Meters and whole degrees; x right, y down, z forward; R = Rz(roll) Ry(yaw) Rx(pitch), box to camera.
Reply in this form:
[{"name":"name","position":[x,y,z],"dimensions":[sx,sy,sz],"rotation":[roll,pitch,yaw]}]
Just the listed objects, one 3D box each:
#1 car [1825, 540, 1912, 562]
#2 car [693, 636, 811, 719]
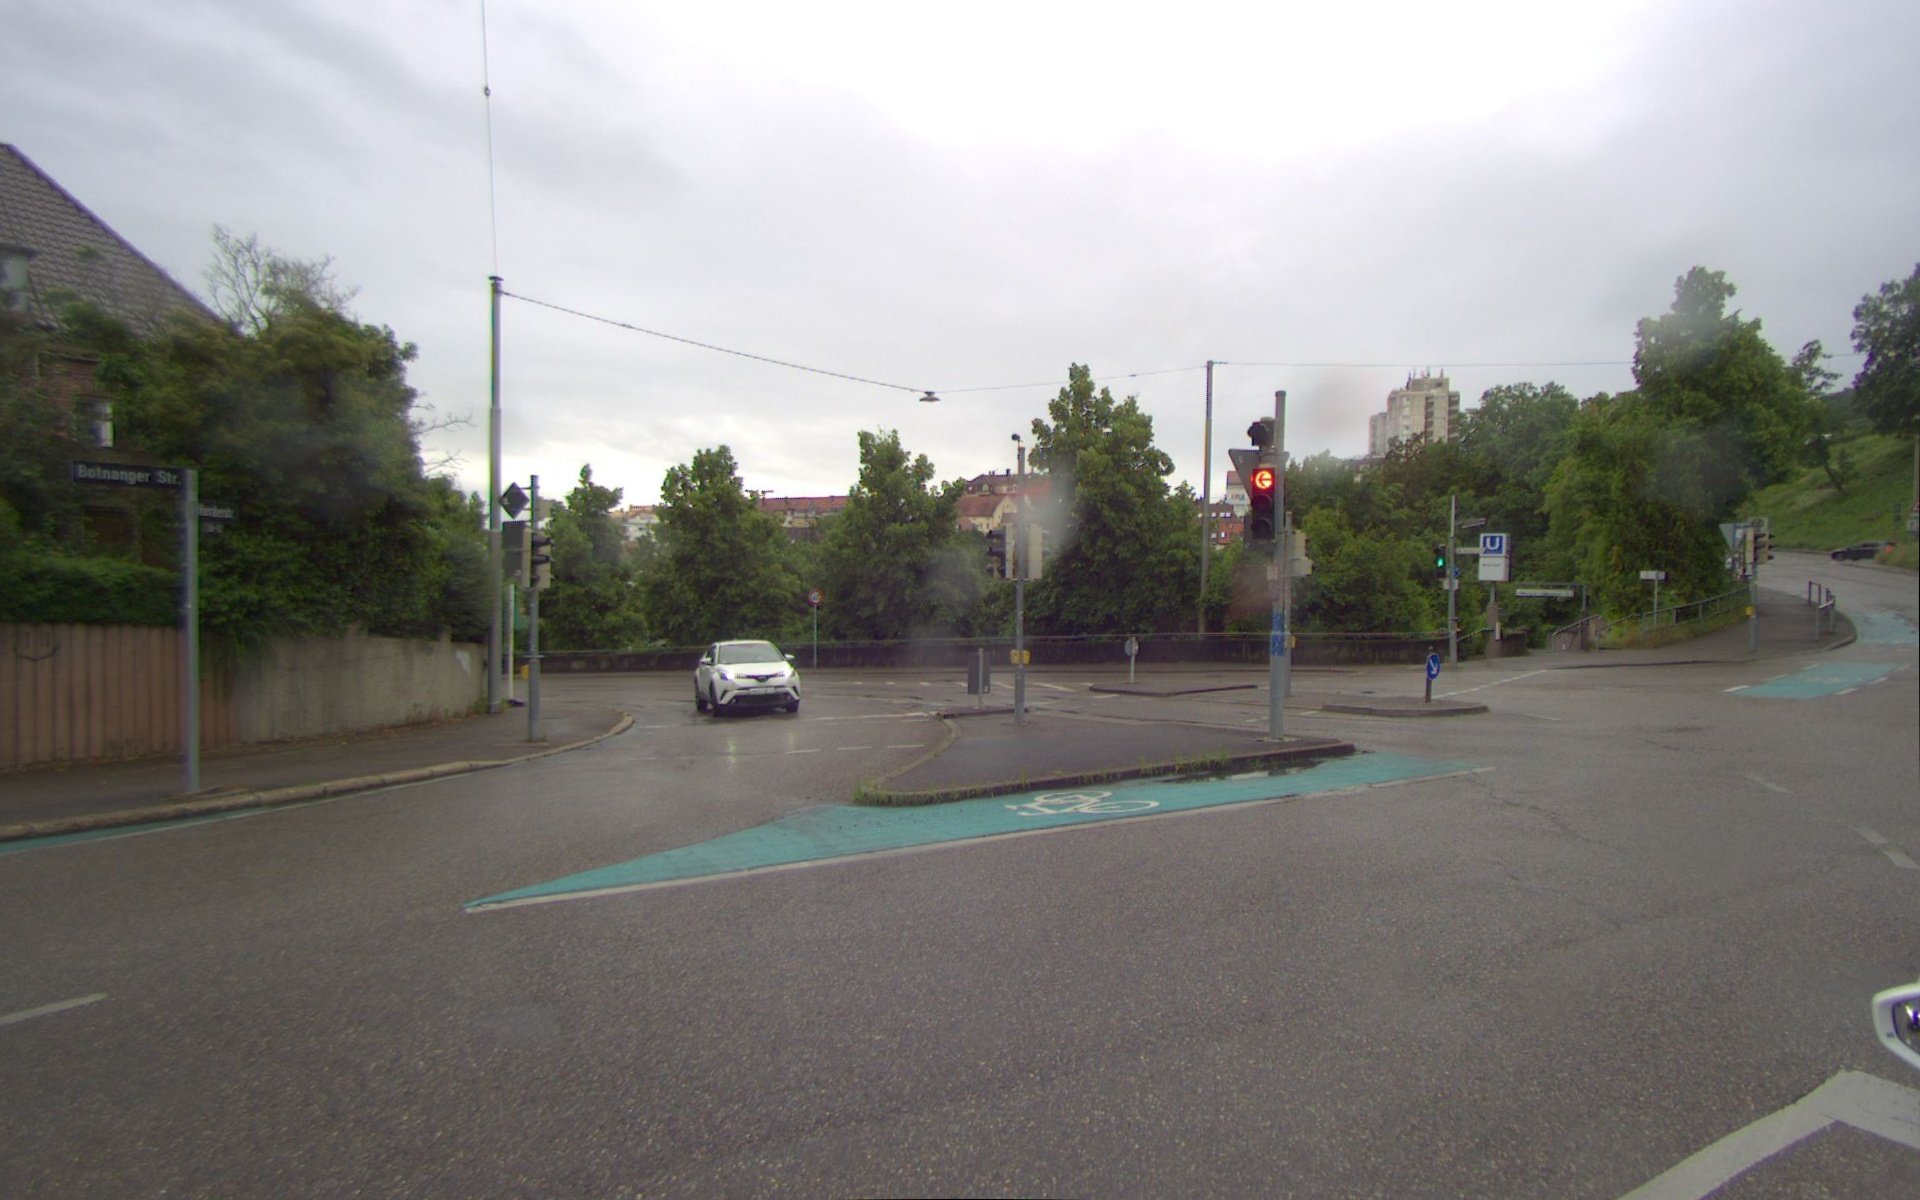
[{"name":"car","position":[66.724,-3.599,73.882],"dimensions":[1.930,1.532,4.389],"rotation":[-1,2,-16]},{"name":"car","position":[-4.565,1.632,21.650],"dimensions":[1.810,1.527,3.866],"rotation":[-2,-2,-21]}]
